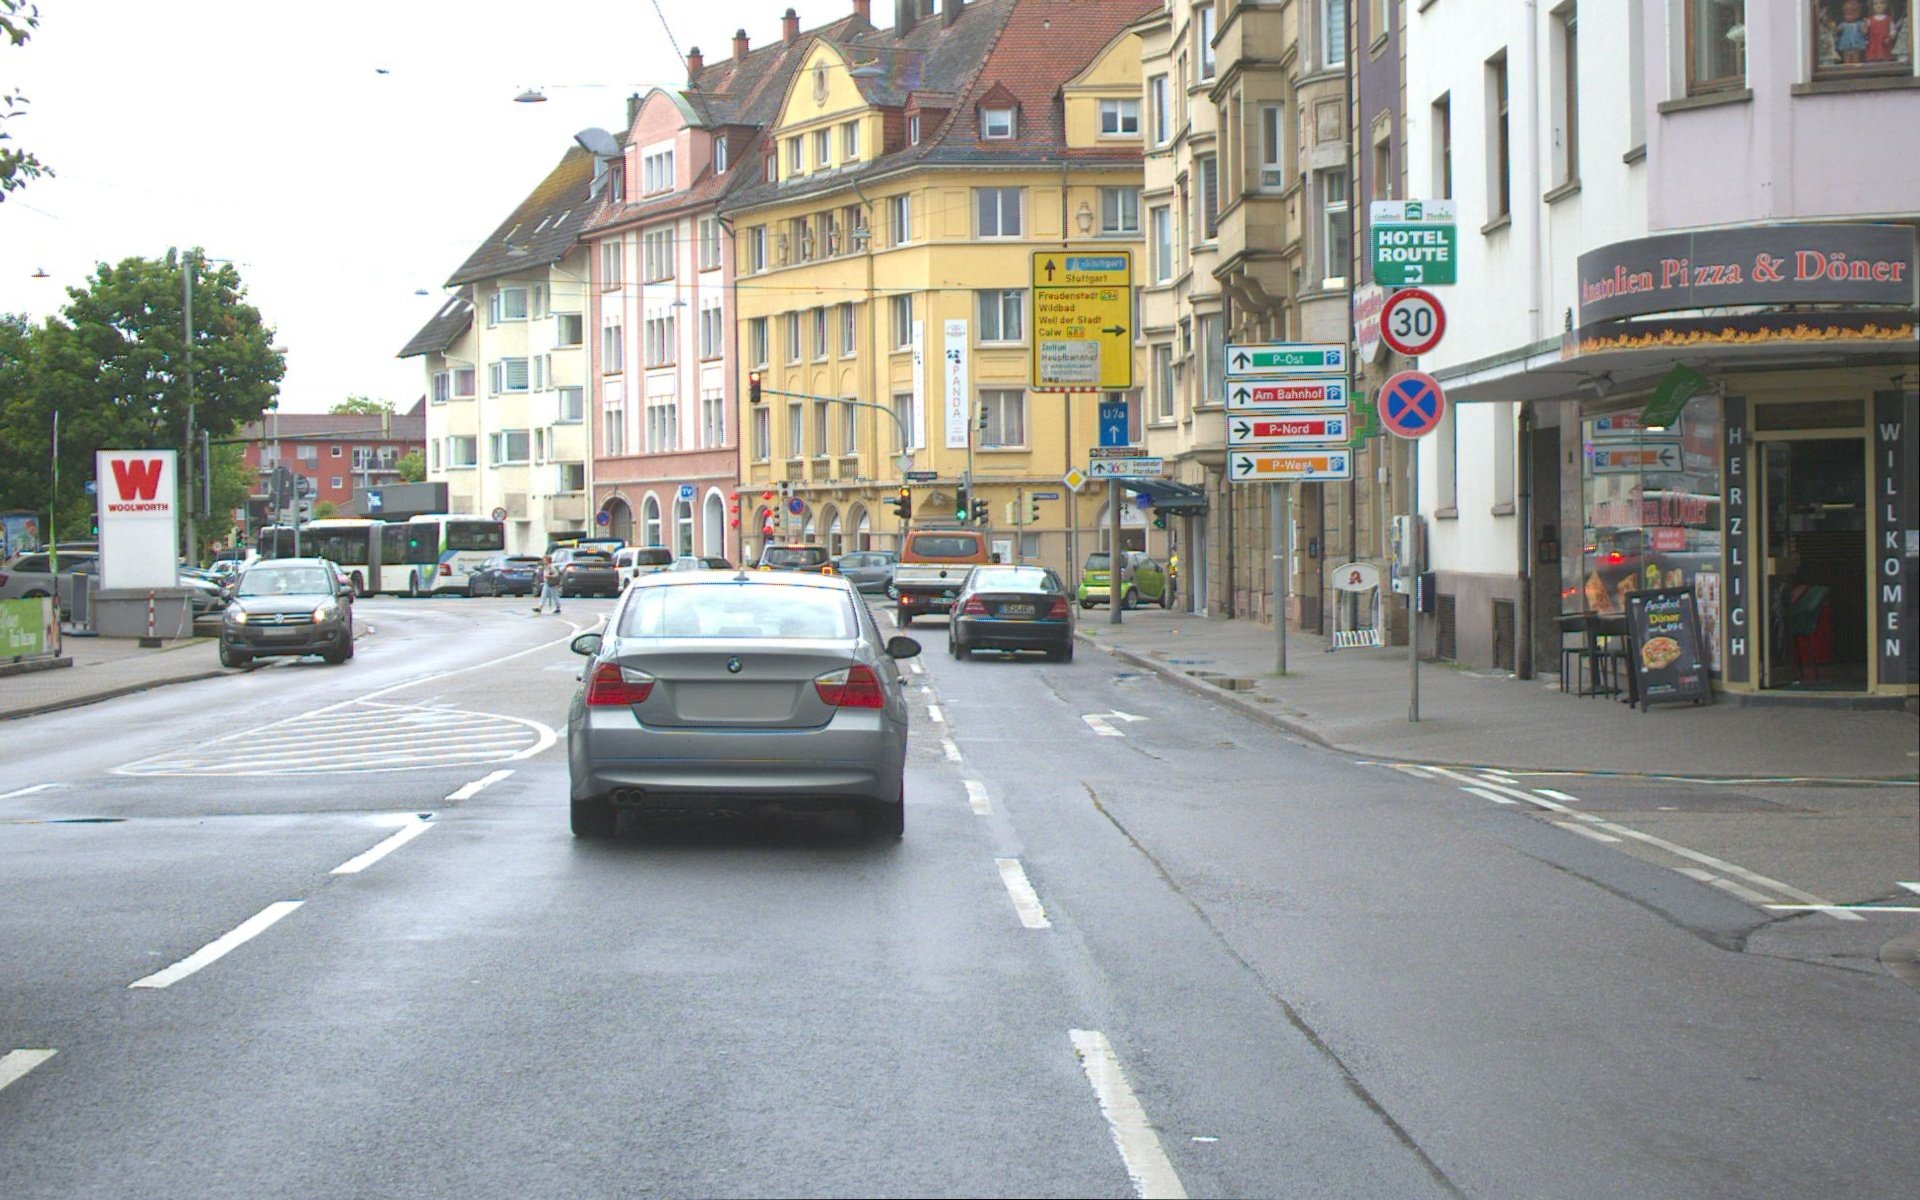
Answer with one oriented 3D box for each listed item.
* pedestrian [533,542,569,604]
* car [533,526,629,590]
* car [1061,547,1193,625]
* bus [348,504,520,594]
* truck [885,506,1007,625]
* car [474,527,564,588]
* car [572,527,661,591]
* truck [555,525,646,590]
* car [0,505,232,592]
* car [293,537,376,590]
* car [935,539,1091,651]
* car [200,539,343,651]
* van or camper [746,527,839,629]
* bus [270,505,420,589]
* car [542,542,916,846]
[{"bbox_3d":[-10.191,-0.673,85.687,0.760,1.524,0.508,1,0,-22],"label":"pedestrian"},{"bbox_3d":[-12.129,-1.356,109.839,1.993,2.007,4.001,-1,1,-23],"label":"car"},{"bbox_3d":[4.442,-0.391,90.888,1.996,2.007,3.994,1,1,28],"label":"car"},{"bbox_3d":[-19.090,-1.855,124.340,2.908,3.094,9.143,-1,1,-31],"label":"bus"},{"bbox_3d":[-0.318,-0.694,67.910,2.224,2.242,5.063,1,1,-2],"label":"truck"},{"bbox_3d":[-14.835,-1.440,115.506,1.993,2.007,4.001,-1,1,-23],"label":"car"},{"bbox_3d":[-12.352,-1.480,123.503,1.761,2.173,4.001,2,0,-27],"label":"car"},{"bbox_3d":[-13.558,-1.597,129.451,2.026,2.381,4.237,0,1,-27],"label":"truck"},{"bbox_3d":[-17.293,-1.054,70.403,4.444,1.521,1.886,3,0,-7],"label":"car"},{"bbox_3d":[-20.658,-1.214,113.450,1.844,1.678,4.001,-1,1,-23],"label":"car"},{"bbox_3d":[0.734,-0.072,50.136,1.799,1.558,4.001,0,0,-6],"label":"car"},{"bbox_3d":[-10.692,-0.102,53.210,1.947,1.653,4.058,-1,1,-14],"label":"car"},{"bbox_3d":[-3.670,-0.509,74.779,1.854,2.139,4.143,1,1,-5],"label":"van or camper"},{"bbox_3d":[-23.700,-2.030,132.149,2.908,3.094,8.872,-1,1,-29],"label":"bus"},{"bbox_3d":[-1.241,0.428,19.051,1.799,1.459,4.371,1,1,-3],"label":"car"}]
